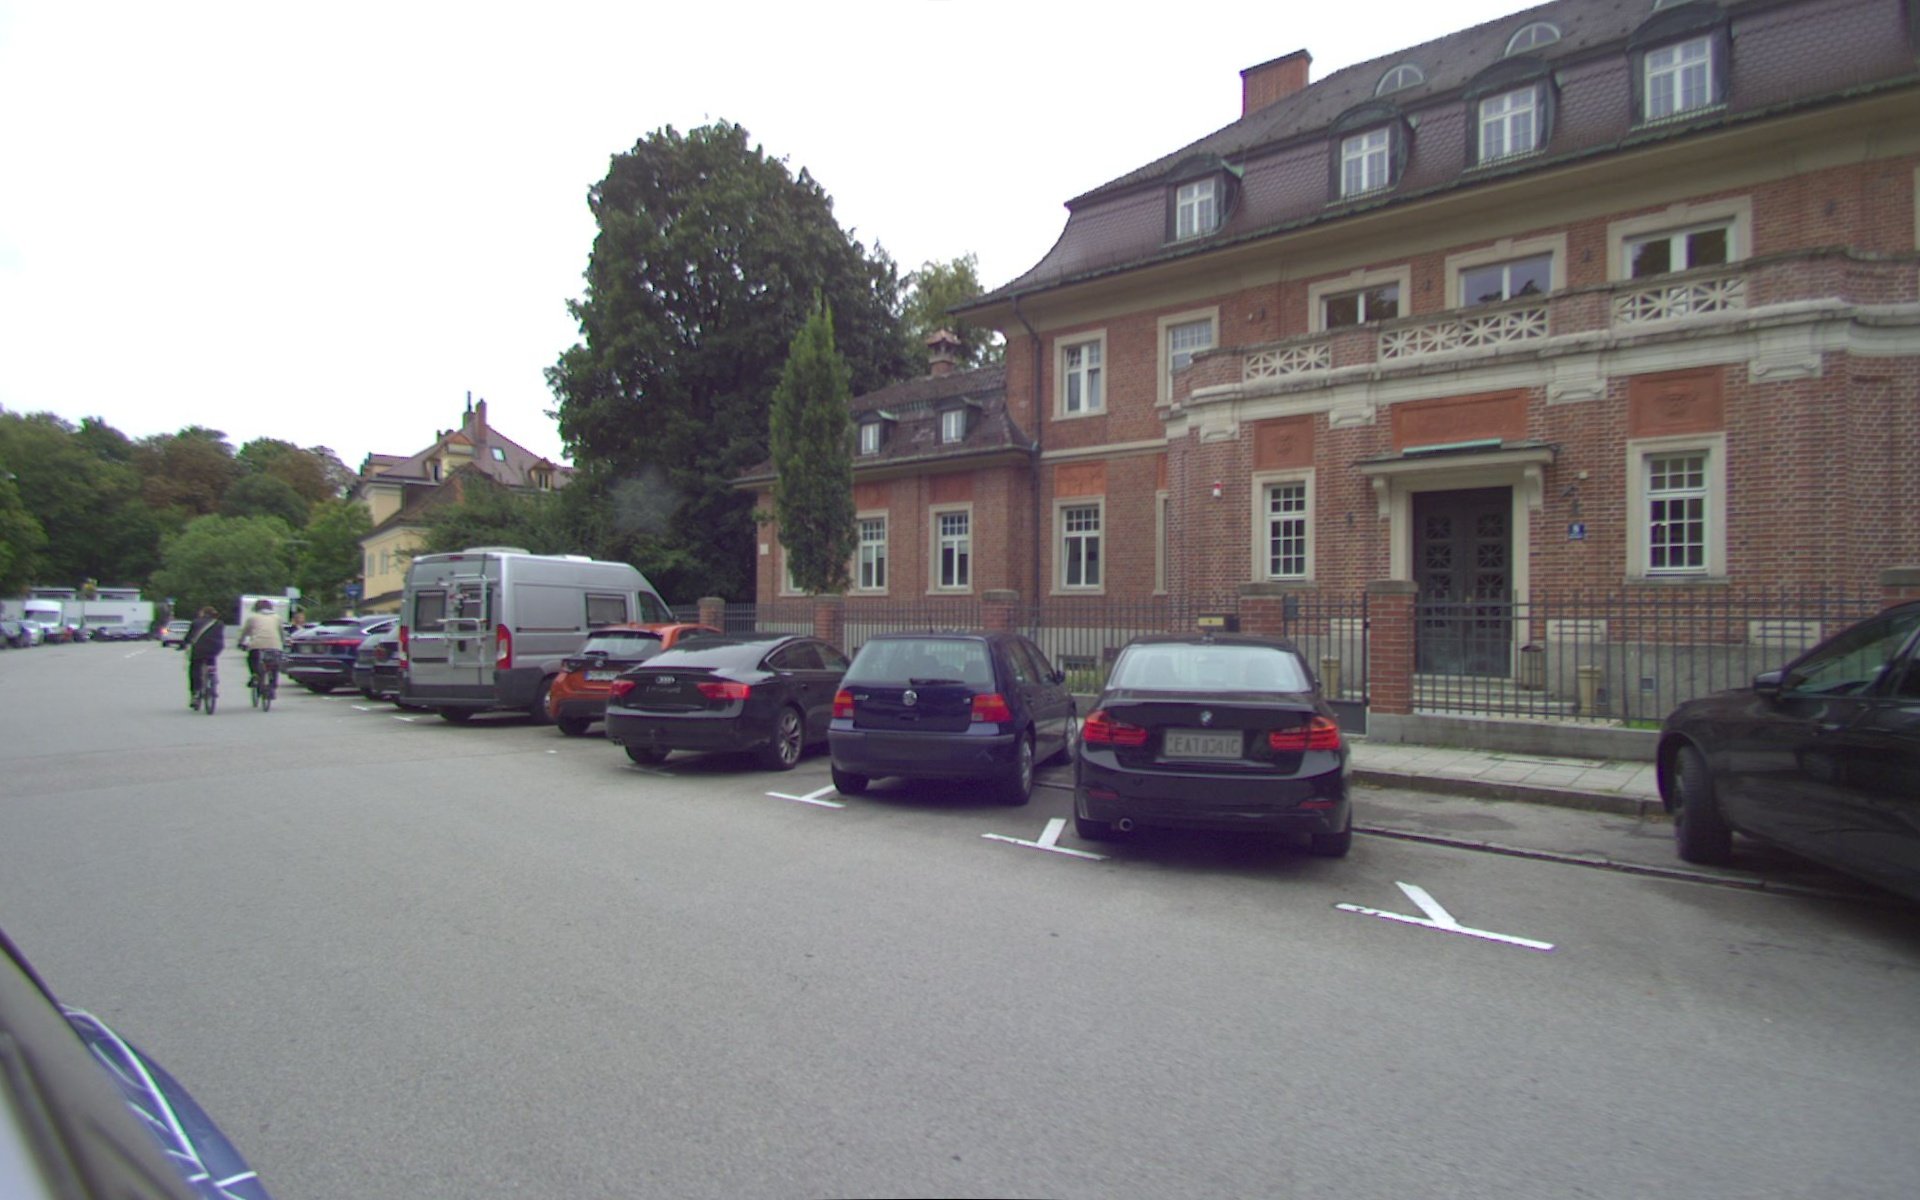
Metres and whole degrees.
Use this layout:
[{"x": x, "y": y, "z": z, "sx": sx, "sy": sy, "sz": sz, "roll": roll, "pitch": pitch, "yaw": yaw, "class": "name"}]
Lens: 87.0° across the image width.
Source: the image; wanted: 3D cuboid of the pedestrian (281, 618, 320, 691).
[{"x": -15.456, "y": 1.270, "z": 23.709, "sx": 0.583, "sy": 1.660, "sz": 0.715, "roll": 4, "pitch": -3, "yaw": -44, "class": "pedestrian"}]

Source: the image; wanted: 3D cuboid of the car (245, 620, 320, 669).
[{"x": -23.441, "y": 1.529, "z": 34.948, "sx": 1.821, "sy": 1.547, "sz": 4.571, "roll": 4, "pitch": -4, "yaw": -37, "class": "car"}]

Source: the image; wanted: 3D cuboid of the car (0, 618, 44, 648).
[{"x": -53.799, "y": 1.920, "z": 57.804, "sx": 1.847, "sy": 1.581, "sz": 5.010, "roll": 4, "pitch": -5, "yaw": -39, "class": "car"}]

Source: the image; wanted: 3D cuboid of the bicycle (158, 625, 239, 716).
[{"x": -11.807, "y": 1.051, "z": 15.667, "sx": 0.698, "sy": 1.315, "sz": 2.119, "roll": 2, "pitch": -2, "yaw": -45, "class": "bicycle"}]

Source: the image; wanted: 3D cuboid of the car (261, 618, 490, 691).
[{"x": -13.768, "y": 1.225, "z": 24.034, "sx": 1.932, "sy": 1.541, "sz": 4.286, "roll": 0, "pitch": -1, "yaw": 40, "class": "car"}]

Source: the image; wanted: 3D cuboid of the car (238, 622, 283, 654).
[{"x": -35.906, "y": 1.949, "z": 51.900, "sx": 1.755, "sy": 1.547, "sz": 4.238, "roll": 4, "pitch": -4, "yaw": -36, "class": "car"}]

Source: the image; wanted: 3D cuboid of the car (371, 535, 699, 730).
[{"x": -6.402, "y": 0.525, "z": 15.956, "sx": 2.217, "sy": 2.583, "sz": 4.606, "roll": -1, "pitch": -3, "yaw": 20, "class": "car"}]

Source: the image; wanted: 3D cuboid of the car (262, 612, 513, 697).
[{"x": -12.117, "y": 1.154, "z": 21.810, "sx": 1.951, "sy": 1.606, "sz": 4.496, "roll": 0, "pitch": -3, "yaw": 20, "class": "car"}]

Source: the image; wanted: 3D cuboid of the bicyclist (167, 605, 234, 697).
[{"x": -11.752, "y": 0.772, "z": 15.654, "sx": 0.930, "sy": 1.362, "sz": 0.689, "roll": -1, "pitch": -2, "yaw": 45, "class": "bicyclist"}]

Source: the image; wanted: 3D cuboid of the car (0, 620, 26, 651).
[{"x": -50.077, "y": 1.849, "z": 52.816, "sx": 1.264, "sy": 1.518, "sz": 5.219, "roll": 4, "pitch": -4, "yaw": -36, "class": "car"}]

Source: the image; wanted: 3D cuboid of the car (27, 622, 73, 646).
[{"x": -61.372, "y": 2.293, "z": 68.320, "sx": 1.846, "sy": 1.518, "sz": 4.848, "roll": 4, "pitch": -4, "yaw": -37, "class": "car"}]

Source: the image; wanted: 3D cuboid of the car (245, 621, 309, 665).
[{"x": -26.325, "y": 1.644, "z": 38.945, "sx": 1.820, "sy": 1.547, "sz": 4.532, "roll": 4, "pitch": -4, "yaw": -36, "class": "car"}]

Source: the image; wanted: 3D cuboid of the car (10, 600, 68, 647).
[{"x": -57.586, "y": 1.527, "z": 63.381, "sx": 2.052, "sy": 2.707, "sz": 6.101, "roll": 4, "pitch": -4, "yaw": -37, "class": "car"}]

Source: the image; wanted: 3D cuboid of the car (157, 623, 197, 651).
[{"x": -44.525, "y": 2.076, "z": 57.546, "sx": 1.749, "sy": 1.486, "sz": 4.142, "roll": 1, "pitch": -2, "yaw": -38, "class": "car"}]

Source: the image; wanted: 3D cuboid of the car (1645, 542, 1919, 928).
[{"x": 5.249, "y": 0.621, "z": 4.668, "sx": 1.968, "sy": 1.677, "sz": 4.507, "roll": 1, "pitch": -2, "yaw": 14, "class": "car"}]

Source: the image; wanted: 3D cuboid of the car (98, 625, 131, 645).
[{"x": -69.345, "y": 2.902, "z": 82.996, "sx": 1.869, "sy": 1.457, "sz": 4.273, "roll": -2, "pitch": -2, "yaw": -42, "class": "car"}]

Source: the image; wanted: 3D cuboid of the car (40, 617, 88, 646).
[{"x": -64.281, "y": 2.267, "z": 72.696, "sx": 1.909, "sy": 1.919, "sz": 5.084, "roll": 4, "pitch": -4, "yaw": -35, "class": "car"}]

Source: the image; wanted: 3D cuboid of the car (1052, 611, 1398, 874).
[{"x": 2.000, "y": 0.895, "z": 7.994, "sx": 1.909, "sy": 1.429, "sz": 4.507, "roll": 0, "pitch": -3, "yaw": 14, "class": "car"}]

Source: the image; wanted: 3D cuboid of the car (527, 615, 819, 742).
[{"x": -3.923, "y": 1.011, "z": 14.766, "sx": 1.922, "sy": 1.528, "sz": 4.500, "roll": 0, "pitch": -1, "yaw": 18, "class": "car"}]

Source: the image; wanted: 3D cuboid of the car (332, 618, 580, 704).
[{"x": -9.995, "y": 1.197, "z": 20.497, "sx": 1.821, "sy": 1.498, "sz": 4.391, "roll": 1, "pitch": -2, "yaw": 21, "class": "car"}]

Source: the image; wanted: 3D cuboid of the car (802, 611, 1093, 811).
[{"x": 0.167, "y": 0.930, "z": 9.938, "sx": 1.802, "sy": 1.462, "sz": 4.507, "roll": 0, "pitch": -3, "yaw": 13, "class": "car"}]

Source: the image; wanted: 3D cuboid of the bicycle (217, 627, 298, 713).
[{"x": -11.460, "y": 1.094, "z": 16.482, "sx": 0.699, "sy": 1.315, "sz": 2.119, "roll": 2, "pitch": -2, "yaw": -45, "class": "bicycle"}]

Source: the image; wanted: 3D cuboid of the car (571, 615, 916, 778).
[{"x": -2.155, "y": 0.968, "z": 11.582, "sx": 1.960, "sy": 1.462, "sz": 4.502, "roll": 0, "pitch": -3, "yaw": 16, "class": "car"}]

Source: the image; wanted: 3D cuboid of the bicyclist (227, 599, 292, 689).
[{"x": -11.364, "y": 0.706, "z": 16.418, "sx": 0.931, "sy": 1.408, "sz": 0.688, "roll": -1, "pitch": -2, "yaw": 45, "class": "bicyclist"}]

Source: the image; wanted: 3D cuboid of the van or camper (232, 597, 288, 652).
[{"x": -40.457, "y": 1.437, "z": 58.569, "sx": 2.422, "sy": 2.963, "sz": 7.230, "roll": 3, "pitch": -3, "yaw": -34, "class": "van or camper"}]

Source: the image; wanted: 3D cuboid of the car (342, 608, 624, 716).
[{"x": -8.350, "y": 1.071, "z": 18.260, "sx": 1.952, "sy": 1.637, "sz": 4.496, "roll": 1, "pitch": -2, "yaw": 20, "class": "car"}]

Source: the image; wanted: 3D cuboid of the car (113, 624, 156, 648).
[{"x": -63.900, "y": 2.805, "z": 78.428, "sx": 1.966, "sy": 1.706, "sz": 4.347, "roll": 0, "pitch": -3, "yaw": -31, "class": "car"}]

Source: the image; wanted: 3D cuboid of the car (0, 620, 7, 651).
[{"x": -47.026, "y": 1.675, "z": 48.286, "sx": 1.704, "sy": 1.541, "sz": 4.214, "roll": 3, "pitch": -3, "yaw": -36, "class": "car"}]
